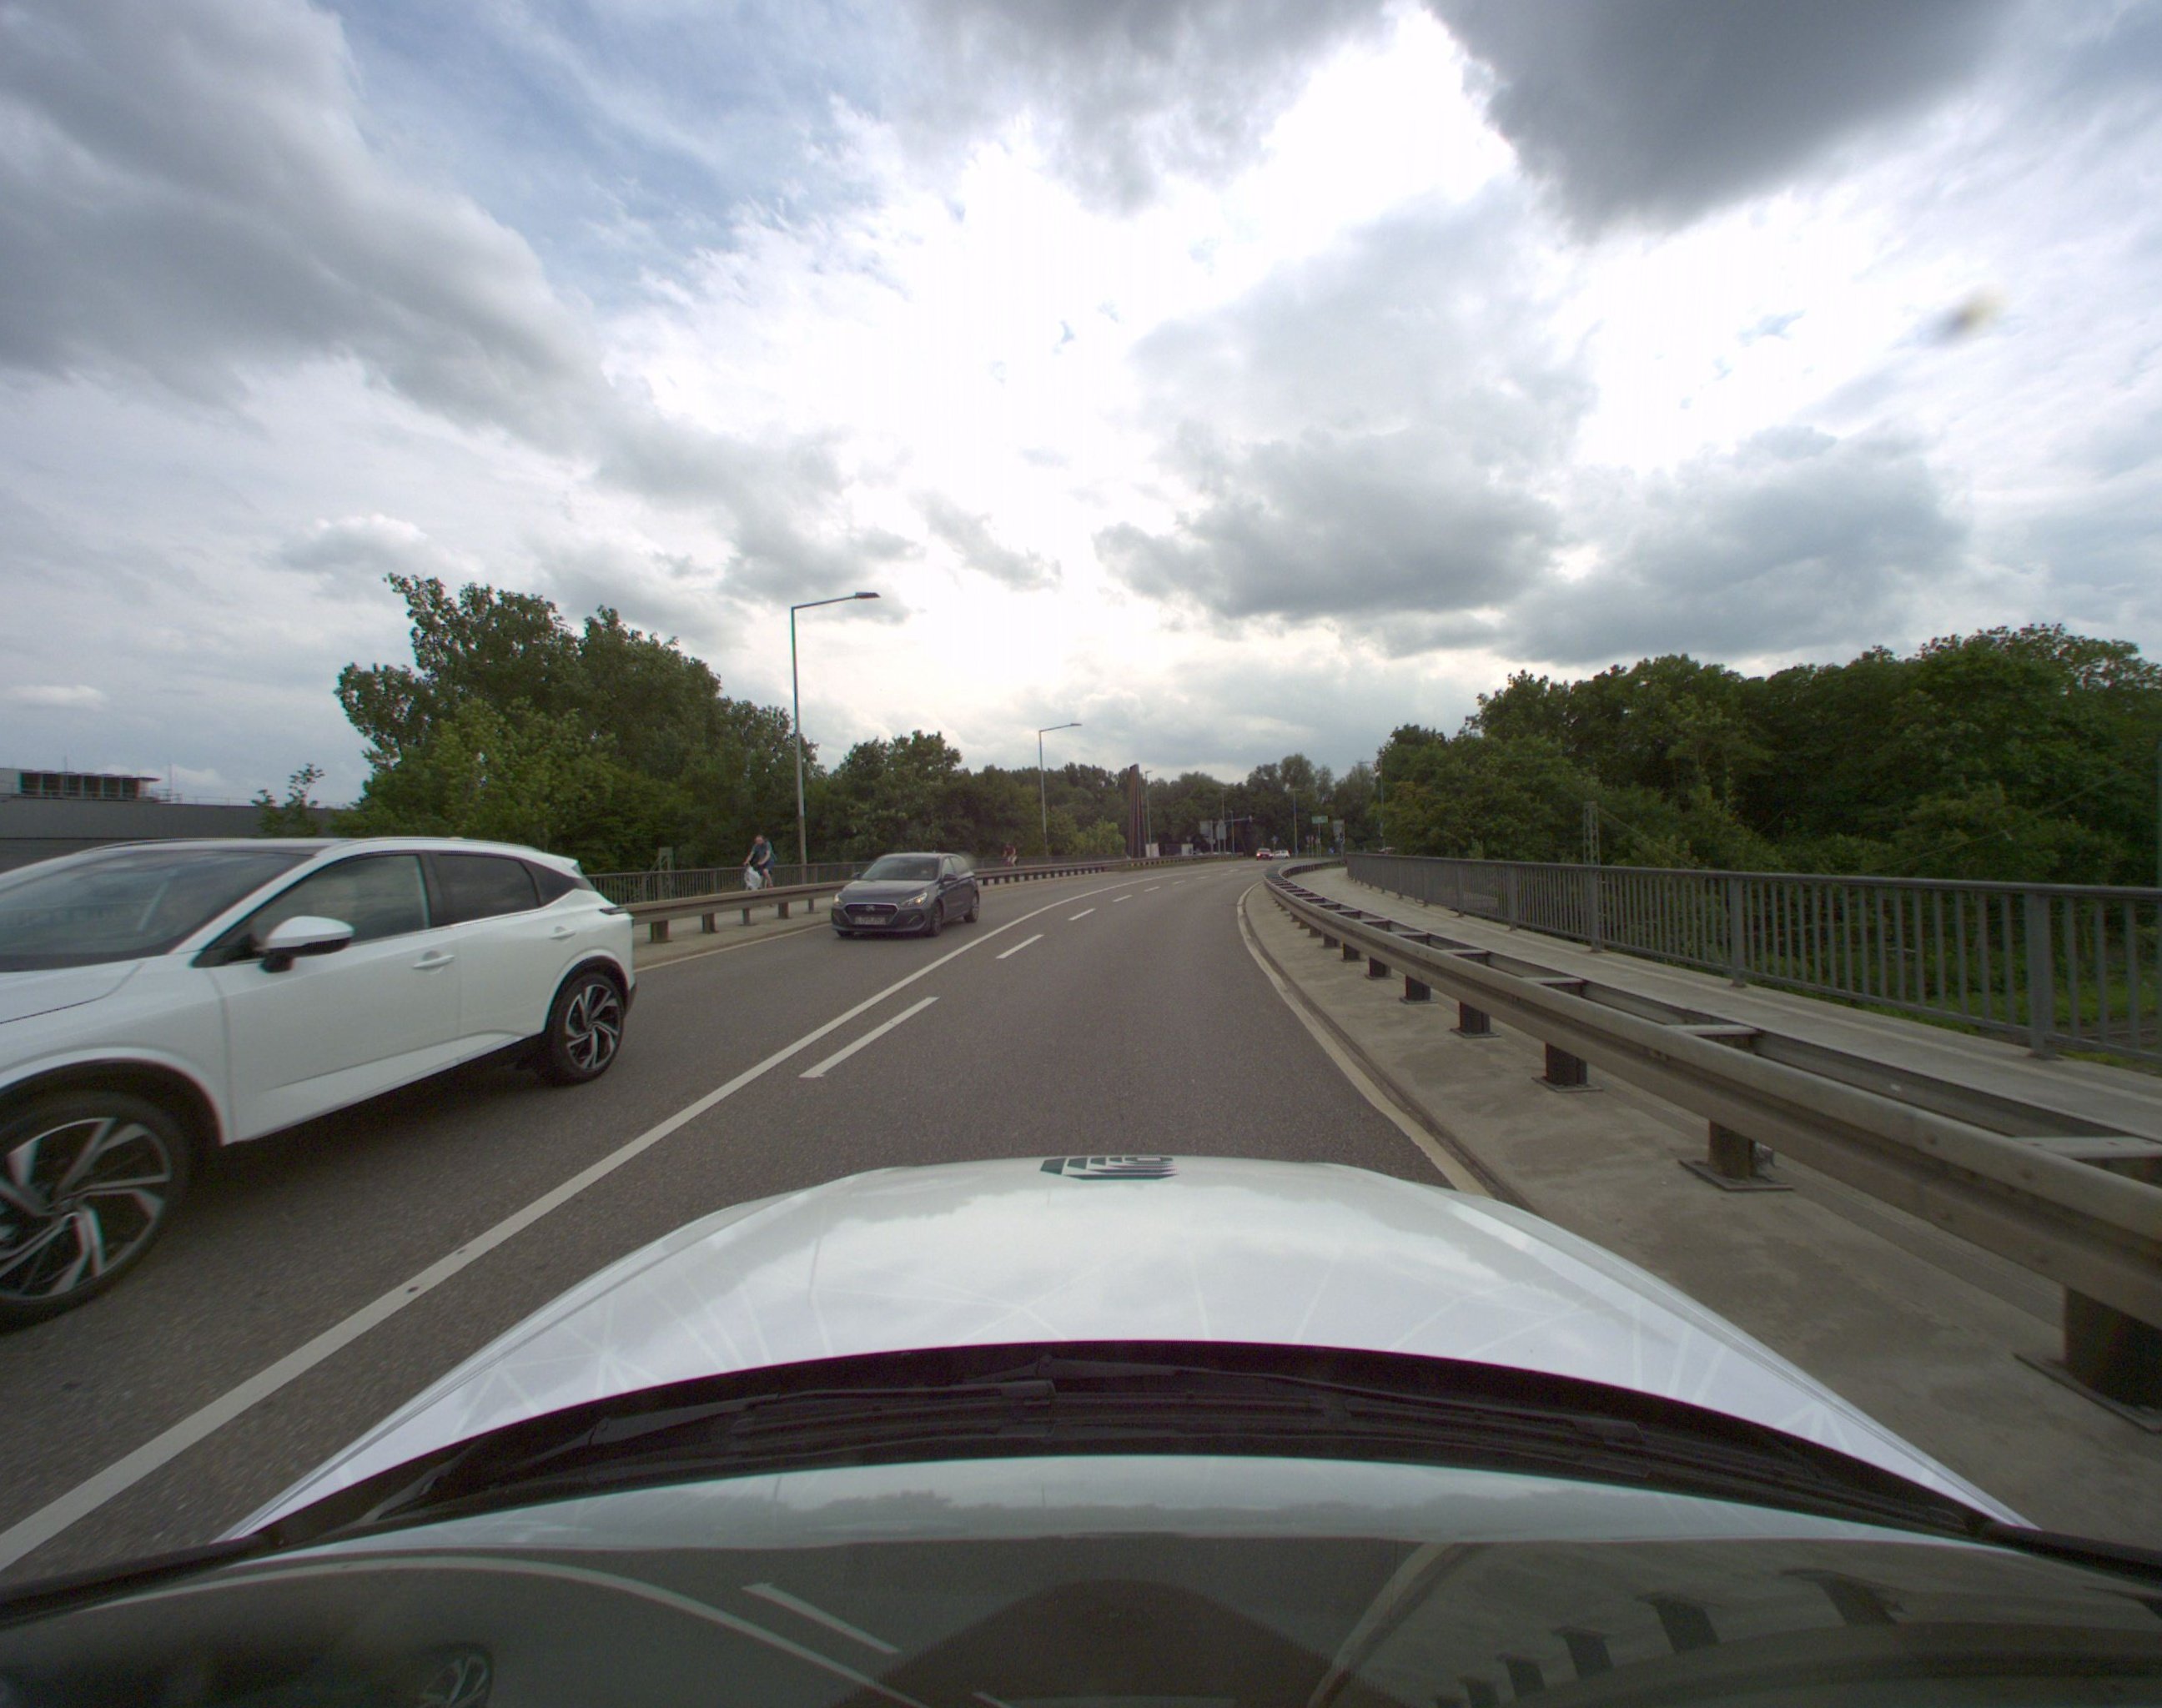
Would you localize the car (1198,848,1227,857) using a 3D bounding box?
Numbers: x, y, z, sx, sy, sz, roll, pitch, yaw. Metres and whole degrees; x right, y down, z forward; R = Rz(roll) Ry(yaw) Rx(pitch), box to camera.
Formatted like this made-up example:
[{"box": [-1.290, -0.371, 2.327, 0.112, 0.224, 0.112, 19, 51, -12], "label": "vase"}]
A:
[{"box": [19.668, -0.266, 121.965, 2.010, 1.310, 3.761, 0, 0, -41], "label": "car"}]

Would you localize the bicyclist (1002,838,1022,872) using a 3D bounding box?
[{"box": [-3.356, 0.035, 39.633, 0.766, 1.631, 0.651, -1, -1, 12], "label": "bicyclist"}]

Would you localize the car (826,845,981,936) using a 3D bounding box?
[{"box": [-3.184, 0.602, 15.537, 1.801, 1.477, 4.385, 0, 0, 2], "label": "car"}]

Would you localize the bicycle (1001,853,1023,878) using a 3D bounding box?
[{"box": [-3.345, 0.549, 39.670, 0.631, 1.174, 1.911, 0, 0, 9], "label": "bicycle"}]

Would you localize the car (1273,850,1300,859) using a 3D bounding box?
[{"box": [33.778, 0.074, 134.118, 3.971, 1.552, 2.001, 0, 0, 2], "label": "car"}]

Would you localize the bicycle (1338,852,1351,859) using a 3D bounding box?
[{"box": [41.069, 0.195, 127.000, 0.710, 1.053, 1.925, 0, -2, -31], "label": "bicycle"}]

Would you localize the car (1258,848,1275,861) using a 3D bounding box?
[{"box": [21.919, 0.045, 96.065, 1.782, 1.472, 4.654, 0, 0, 15], "label": "car"}]

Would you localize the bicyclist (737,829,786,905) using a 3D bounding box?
[{"box": [-7.731, 0.315, 19.743, 0.845, 1.808, 0.797, 0, 0, 1], "label": "bicyclist"}]

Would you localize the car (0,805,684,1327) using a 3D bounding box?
[{"box": [-4.199, 0.653, 4.041, 1.933, 1.593, 4.777, 0, 0, 2], "label": "car"}]

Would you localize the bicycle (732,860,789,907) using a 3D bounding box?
[{"box": [-7.716, 0.685, 19.679, 0.643, 1.067, 1.762, 0, 0, 2], "label": "bicycle"}]
